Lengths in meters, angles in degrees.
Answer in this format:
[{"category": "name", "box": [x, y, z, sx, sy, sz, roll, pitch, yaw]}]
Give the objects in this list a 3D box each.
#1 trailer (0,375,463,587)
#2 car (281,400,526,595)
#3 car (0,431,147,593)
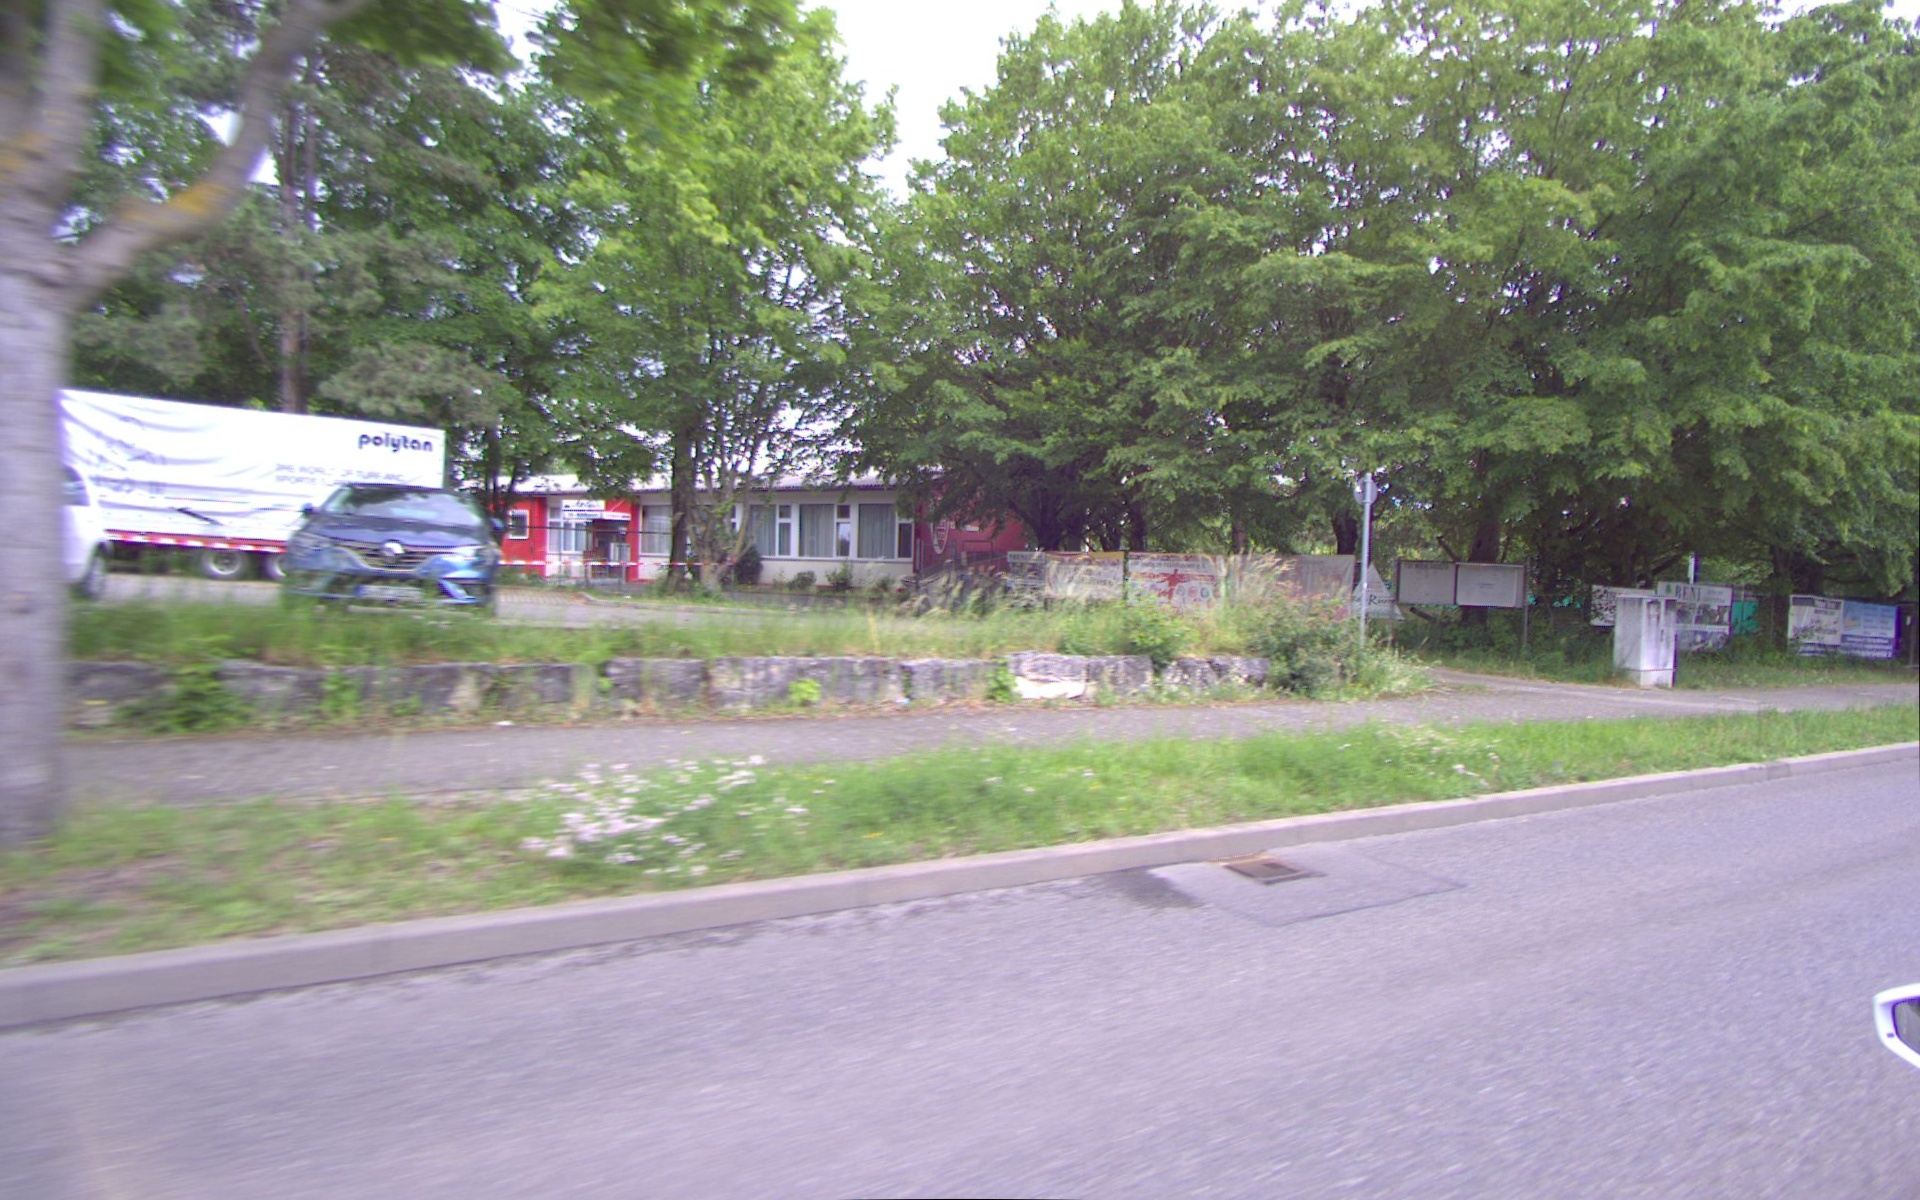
[{"category": "trailer", "box": [-13.495, -2.042, 19.017, 7.098, 3.115, 2.640, 3, 2, -25]}, {"category": "car", "box": [-5.885, -0.975, 11.119, 1.860, 1.582, 5.140, 1, 2, -25]}, {"category": "car", "box": [-9.230, -0.810, 9.351, 1.542, 1.334, 4.364, 1, 2, -25]}]
